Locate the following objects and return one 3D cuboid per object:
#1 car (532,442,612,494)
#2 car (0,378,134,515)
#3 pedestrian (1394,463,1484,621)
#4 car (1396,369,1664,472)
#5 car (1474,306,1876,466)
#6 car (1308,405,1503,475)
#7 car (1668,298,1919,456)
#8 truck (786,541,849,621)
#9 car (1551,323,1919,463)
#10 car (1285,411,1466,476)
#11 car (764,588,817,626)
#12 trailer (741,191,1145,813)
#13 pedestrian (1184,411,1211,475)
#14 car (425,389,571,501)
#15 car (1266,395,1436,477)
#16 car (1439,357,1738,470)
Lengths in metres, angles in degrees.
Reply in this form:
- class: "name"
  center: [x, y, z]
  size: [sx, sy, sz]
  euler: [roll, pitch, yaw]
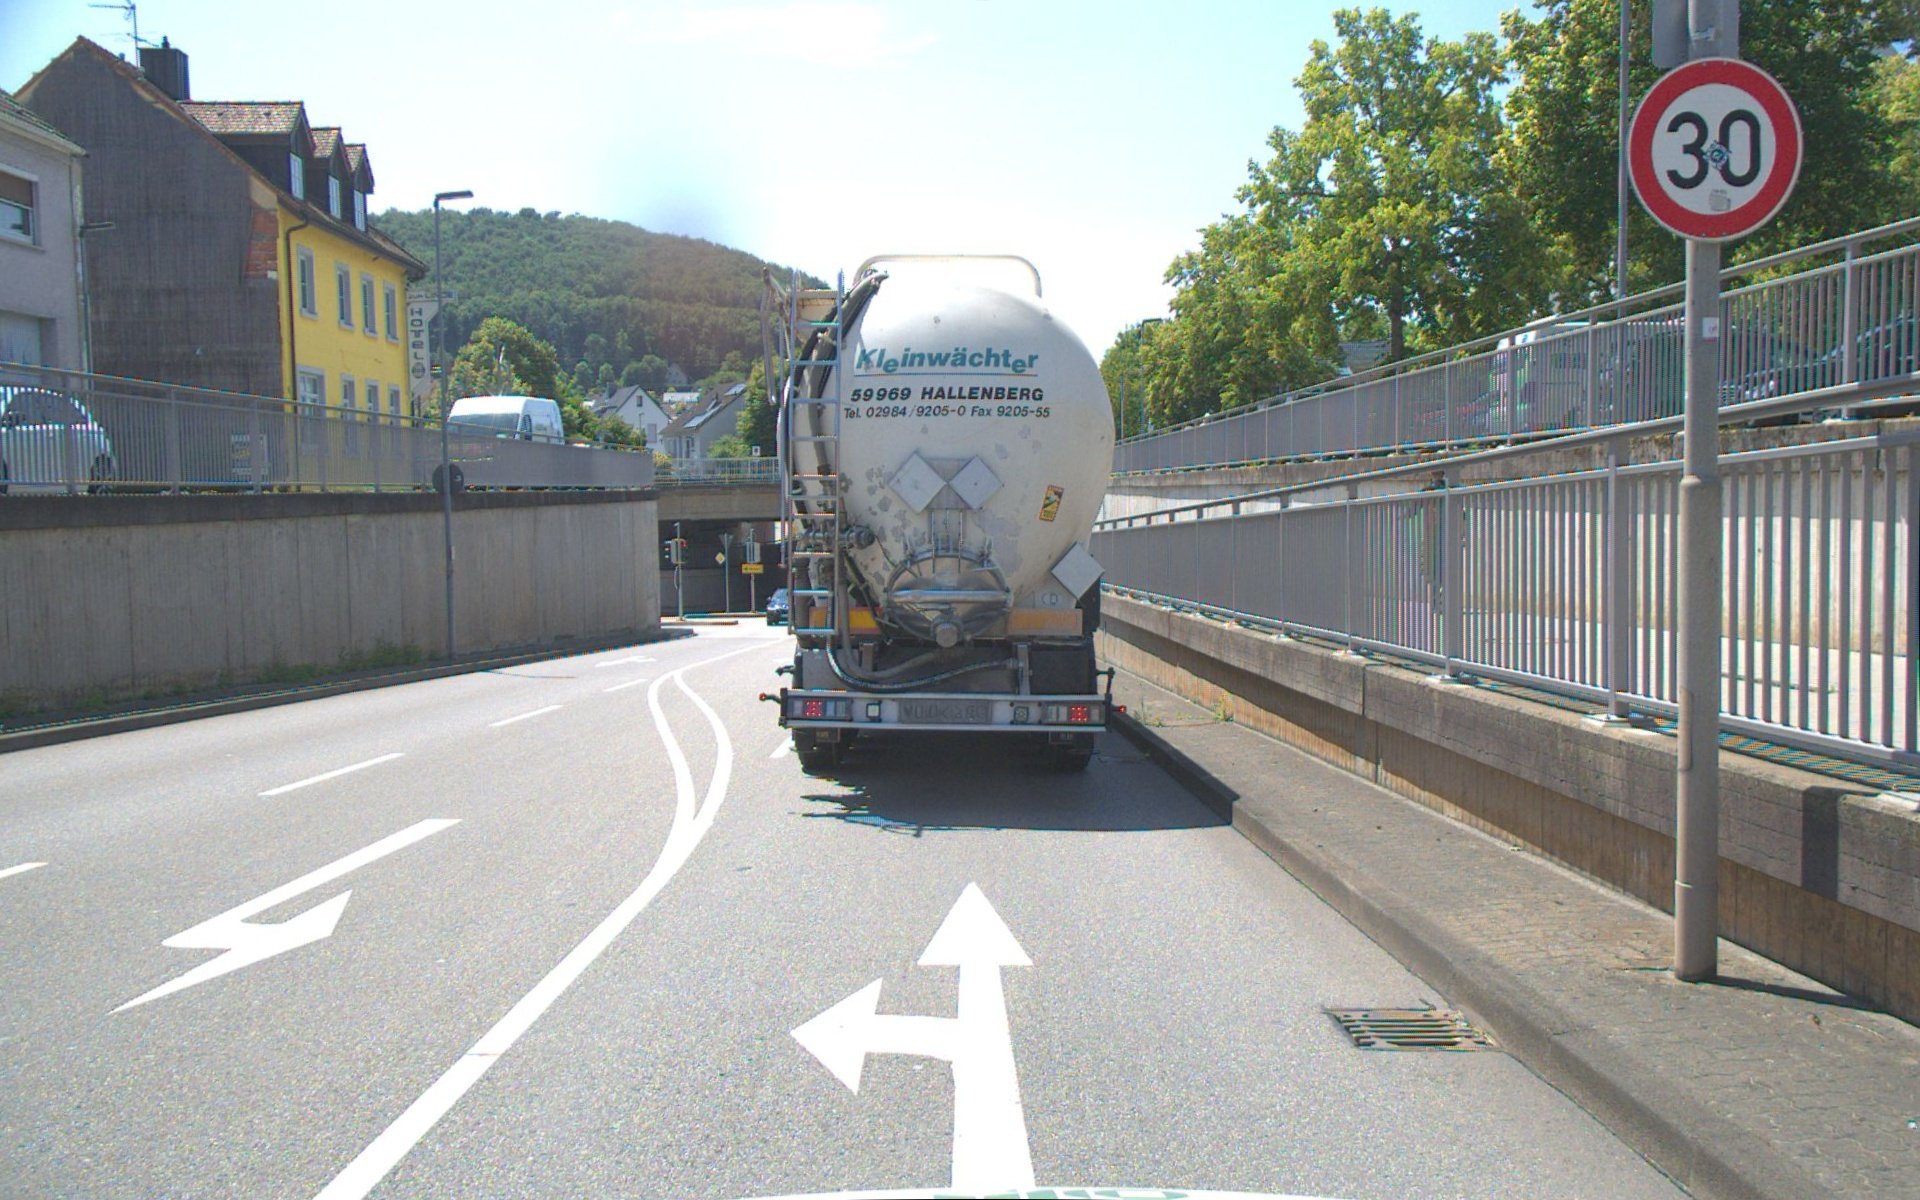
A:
- class: "car"
  center: [-11.874, -4.018, 50.789]
  size: [1.586, 1.526, 4.045]
  euler: [1, 4, -1]
- class: "car"
  center: [-11.369, -1.736, 18.904]
  size: [1.776, 1.487, 4.310]
  euler: [0, 4, -2]
- class: "pedestrian"
  center: [5.643, -0.679, 19.523]
  size: [0.819, 1.813, 0.788]
  euler: [-1, 1, -1]
- class: "car"
  center: [9.894, -3.109, 28.908]
  size: [4.118, 1.623, 1.687]
  euler: [-1, 3, 0]
- class: "car"
  center: [10.303, -3.075, 24.133]
  size: [5.007, 2.099, 1.989]
  euler: [-1, 3, 0]
- class: "car"
  center: [9.693, -3.483, 36.193]
  size: [3.825, 1.391, 1.687]
  euler: [-1, 3, 0]
- class: "car"
  center: [10.014, -2.355, 17.631]
  size: [4.197, 1.524, 1.749]
  euler: [-1, 3, 0]
- class: "truck"
  center: [-7.211, -0.930, 84.312]
  size: [2.607, 3.928, 6.580]
  euler: [0, 0, 0]
- class: "car"
  center: [9.993, -2.643, 21.373]
  size: [4.118, 1.623, 1.687]
  euler: [-1, 3, 0]
- class: "car"
  center: [9.661, -3.637, 38.631]
  size: [3.825, 1.391, 1.687]
  euler: [-1, 3, 0]
- class: "car"
  center: [-6.902, 0.252, 67.809]
  size: [1.724, 1.515, 4.368]
  euler: [0, 0, 0]
- class: "trailer"
  center: [-0.078, -0.714, 17.692]
  size: [2.679, 4.135, 13.313]
  euler: [0, 1, 0]
- class: "pedestrian"
  center: [6.876, -4.526, 47.894]
  size: [0.659, 1.810, 0.594]
  euler: [-1, 3, 1]
- class: "car"
  center: [-11.461, -3.804, 41.513]
  size: [2.023, 2.580, 5.664]
  euler: [1, 3, 0]
- class: "car"
  center: [9.669, -4.050, 41.062]
  size: [3.825, 1.917, 1.687]
  euler: [-1, 3, 0]
- class: "car"
  center: [9.916, -2.938, 26.306]
  size: [4.118, 1.623, 1.687]
  euler: [-1, 3, 0]
